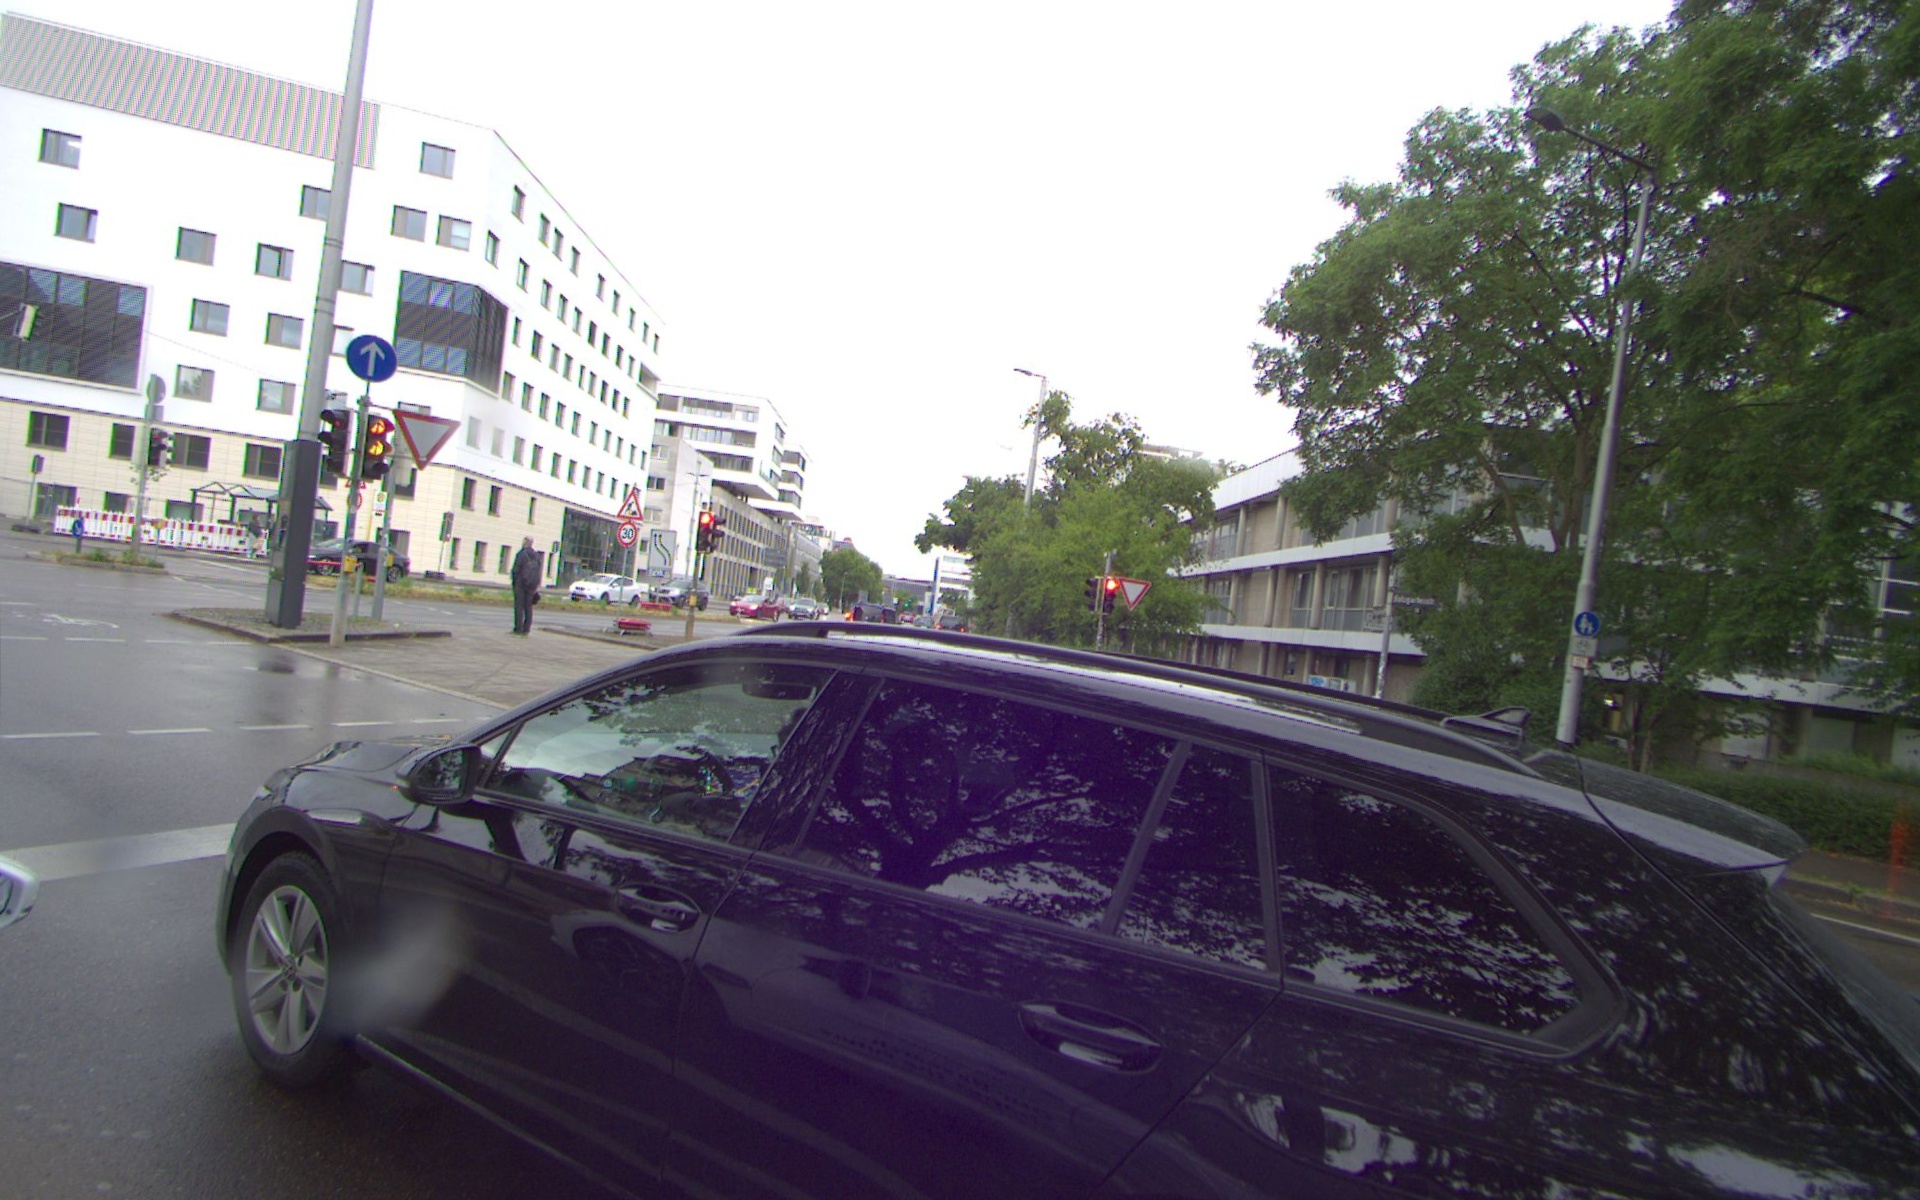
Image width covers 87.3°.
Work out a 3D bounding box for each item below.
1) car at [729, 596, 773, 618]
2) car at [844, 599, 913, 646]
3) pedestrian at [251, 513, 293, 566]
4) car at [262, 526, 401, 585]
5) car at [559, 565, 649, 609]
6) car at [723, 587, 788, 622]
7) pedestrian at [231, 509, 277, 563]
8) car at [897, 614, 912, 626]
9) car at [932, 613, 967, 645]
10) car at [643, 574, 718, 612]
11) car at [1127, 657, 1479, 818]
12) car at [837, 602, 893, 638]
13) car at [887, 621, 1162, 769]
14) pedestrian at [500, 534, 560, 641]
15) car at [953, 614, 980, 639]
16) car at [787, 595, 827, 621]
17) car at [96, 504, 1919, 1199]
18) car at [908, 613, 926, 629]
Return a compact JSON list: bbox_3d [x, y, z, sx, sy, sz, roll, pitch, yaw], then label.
[{"bbox_3d":[-20.671,0.730,99.394,4.003,1.575,1.962,7,-3,38],"label":"car"},{"bbox_3d":[-3.912,1.146,49.302,1.764,1.930,4.312,8,-1,16],"label":"car"},{"bbox_3d":[-27.780,-2.434,40.607,0.941,1.957,1.001,5,-2,41],"label":"pedestrian"},{"bbox_3d":[-22.882,-1.568,36.797,1.764,1.460,4.006,8,-3,17],"label":"car"},{"bbox_3d":[-16.566,-0.562,46.991,1.764,1.460,4.006,8,-3,17],"label":"car"},{"bbox_3d":[-12.523,0.289,61.897,1.930,1.574,4.536,8,-3,16],"label":"car"},{"bbox_3d":[-26.840,-2.432,38.233,0.808,1.861,0.955,6,-2,20],"label":"pedestrian"},{"bbox_3d":[-8.660,3.115,155.959,1.835,1.669,4.776,7,-3,-6],"label":"car"},{"bbox_3d":[-0.678,2.018,69.021,1.963,1.829,4.791,8,-2,3],"label":"car"},{"bbox_3d":[-16.252,-0.387,58.751,1.962,1.684,4.391,8,-1,17],"label":"car"},{"bbox_3d":[4.686,1.862,14.351,1.853,1.467,4.359,9,-2,-37],"label":"car"},{"bbox_3d":[-5.611,1.228,59.988,1.763,1.726,4.692,8,-1,13],"label":"car"},{"bbox_3d":[0.759,1.269,14.403,1.850,1.466,3.967,9,-2,-31],"label":"car"},{"bbox_3d":[-8.265,-0.227,19.343,0.819,1.913,1.022,8,-2,-24],"label":"pedestrian"},{"bbox_3d":[0.554,2.130,81.330,1.963,1.693,4.971,7,-1,1],"label":"car"},{"bbox_3d":[-11.517,0.644,75.992,1.930,1.554,4.164,8,-2,4],"label":"car"},{"bbox_3d":[-0.268,0.777,2.729,4.436,1.483,1.673,8,-1,30],"label":"car"},{"bbox_3d":[-5.411,2.681,126.374,1.835,1.669,4.778,7,-3,-5],"label":"car"}]
